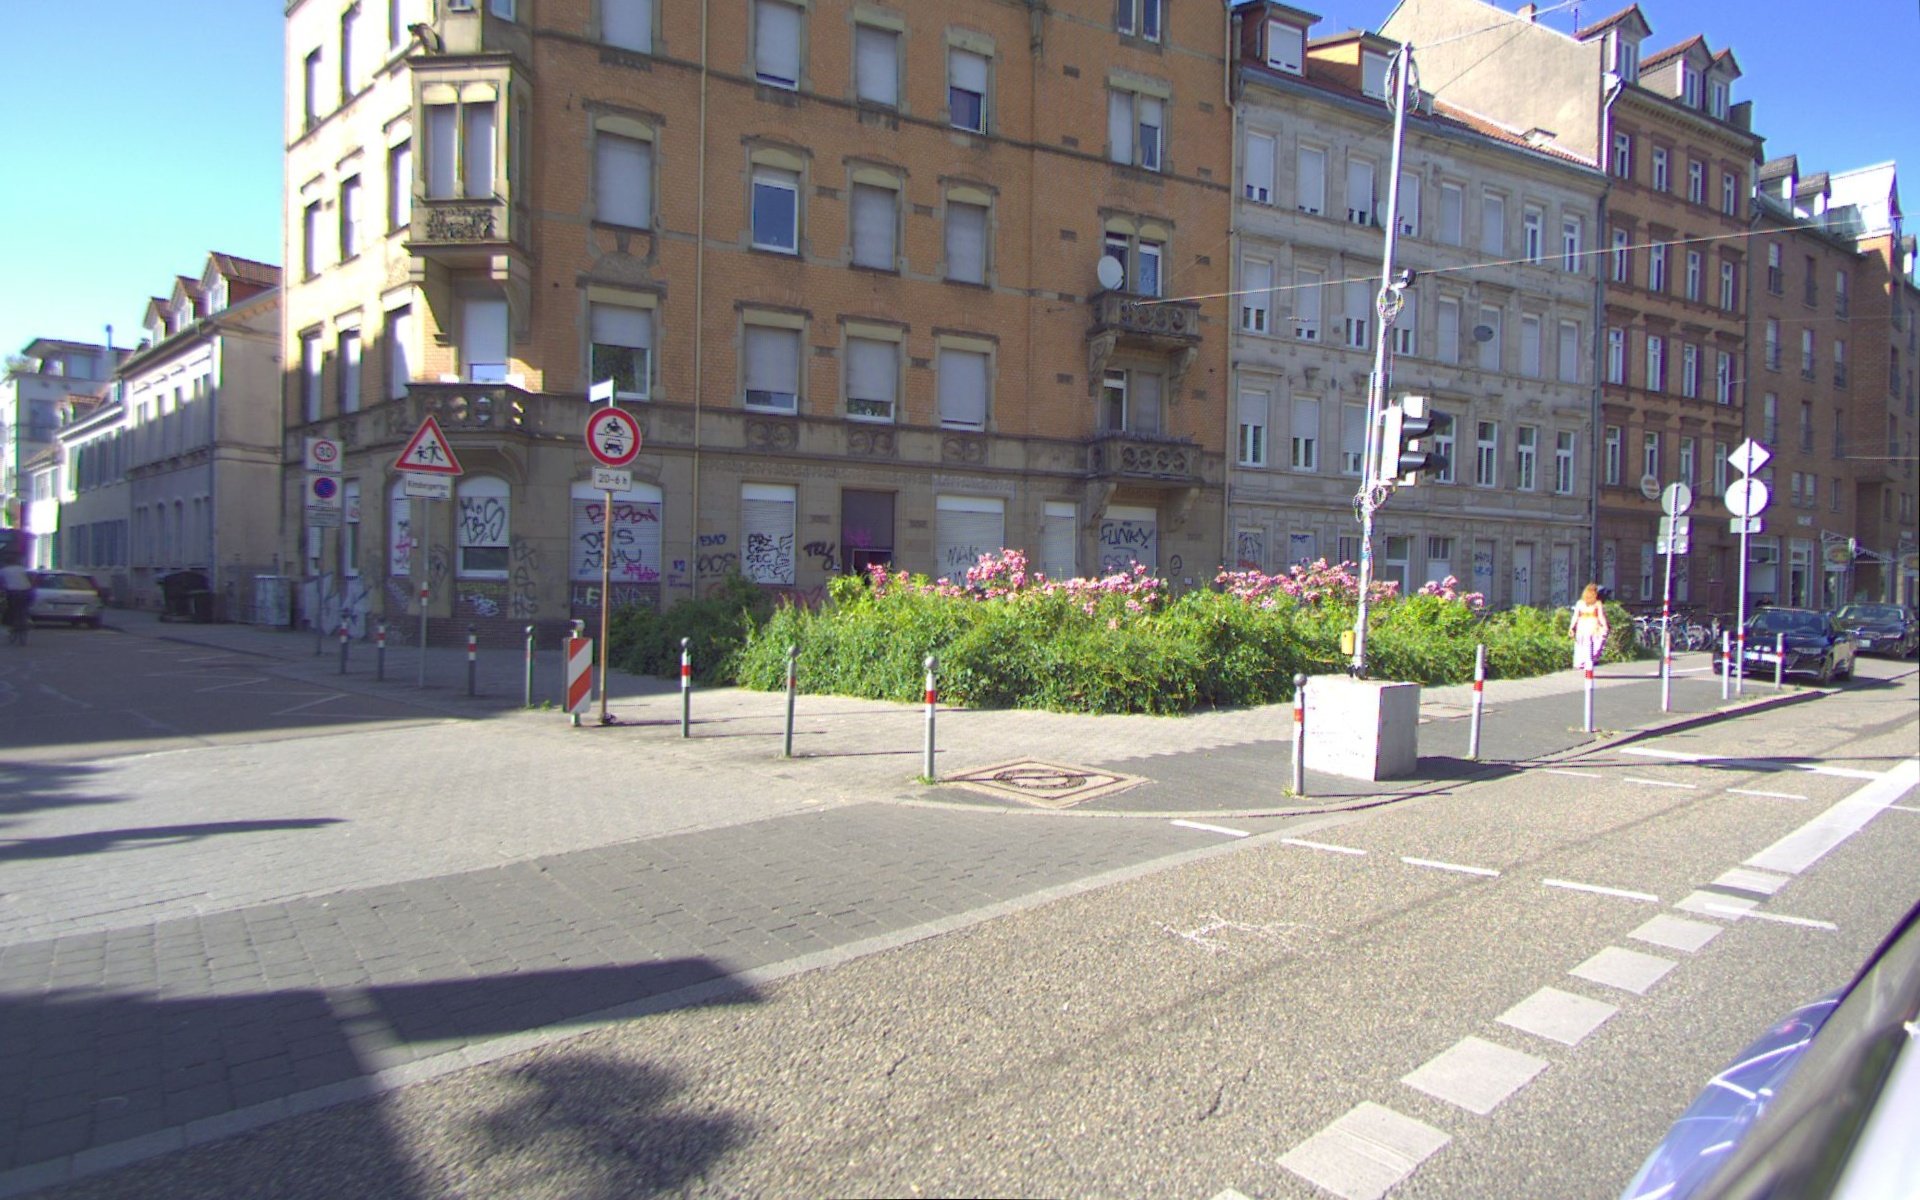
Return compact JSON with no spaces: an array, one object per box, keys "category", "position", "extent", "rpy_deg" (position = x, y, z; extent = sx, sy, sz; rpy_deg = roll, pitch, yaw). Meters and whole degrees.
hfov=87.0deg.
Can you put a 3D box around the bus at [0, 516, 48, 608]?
[{"category":"bus","position":[-34.641,-1.366,36.228],"extent":[6.244,3.105,2.386],"rpy_deg":[2,1,43]}]

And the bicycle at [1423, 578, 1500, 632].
[{"category":"bicycle","position":[12.802,0.118,25.820],"extent":[2.198,1.302,0.956],"rpy_deg":[0,1,-40]}]

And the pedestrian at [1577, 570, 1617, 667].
[{"category":"pedestrian","position":[11.429,0.318,18.153],"extent":[0.548,1.697,0.679],"rpy_deg":[1,1,37]}]

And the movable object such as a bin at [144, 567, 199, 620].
[{"category":"movable object such as a bin","position":[-22.334,-0.200,28.660],"extent":[1.213,1.462,1.019],"rpy_deg":[2,1,42]}]

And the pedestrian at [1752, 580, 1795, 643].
[{"category":"pedestrian","position":[27.323,0.373,33.983],"extent":[1.345,2.039,0.844],"rpy_deg":[1,1,-40]}]

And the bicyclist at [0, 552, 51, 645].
[{"category":"bicyclist","position":[-18.378,-0.046,19.662],"extent":[1.045,1.746,0.907],"rpy_deg":[2,1,38]}]

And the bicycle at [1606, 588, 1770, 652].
[{"category":"bicycle","position":[19.905,0.491,27.505],"extent":[6.706,1.433,1.969],"rpy_deg":[0,4,-40]}]

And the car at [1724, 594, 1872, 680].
[{"category":"car","position":[16.758,0.662,20.177],"extent":[3.931,1.502,1.682],"rpy_deg":[0,1,-42]}]

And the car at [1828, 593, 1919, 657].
[{"category":"car","position":[26.476,0.671,28.855],"extent":[4.392,1.543,1.766],"rpy_deg":[0,5,-39]}]

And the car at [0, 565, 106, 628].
[{"category":"car","position":[-24.504,-0.128,27.245],"extent":[3.980,1.564,1.612],"rpy_deg":[2,1,39]}]

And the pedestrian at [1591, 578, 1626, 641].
[{"category":"pedestrian","position":[19.798,0.285,30.894],"extent":[0.817,1.885,0.695],"rpy_deg":[1,1,37]}]

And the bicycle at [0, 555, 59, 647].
[{"category":"bicycle","position":[-18.464,-0.007,19.690],"extent":[2.129,1.701,0.996],"rpy_deg":[2,1,37]}]

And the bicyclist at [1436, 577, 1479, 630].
[{"category":"bicyclist","position":[12.665,0.088,25.743],"extent":[0.847,1.302,0.693],"rpy_deg":[1,1,-41]}]

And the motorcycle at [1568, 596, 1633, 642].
[{"category":"motorcycle","position":[19.628,0.560,31.021],"extent":[1.622,1.332,0.707],"rpy_deg":[2,1,37]}]
